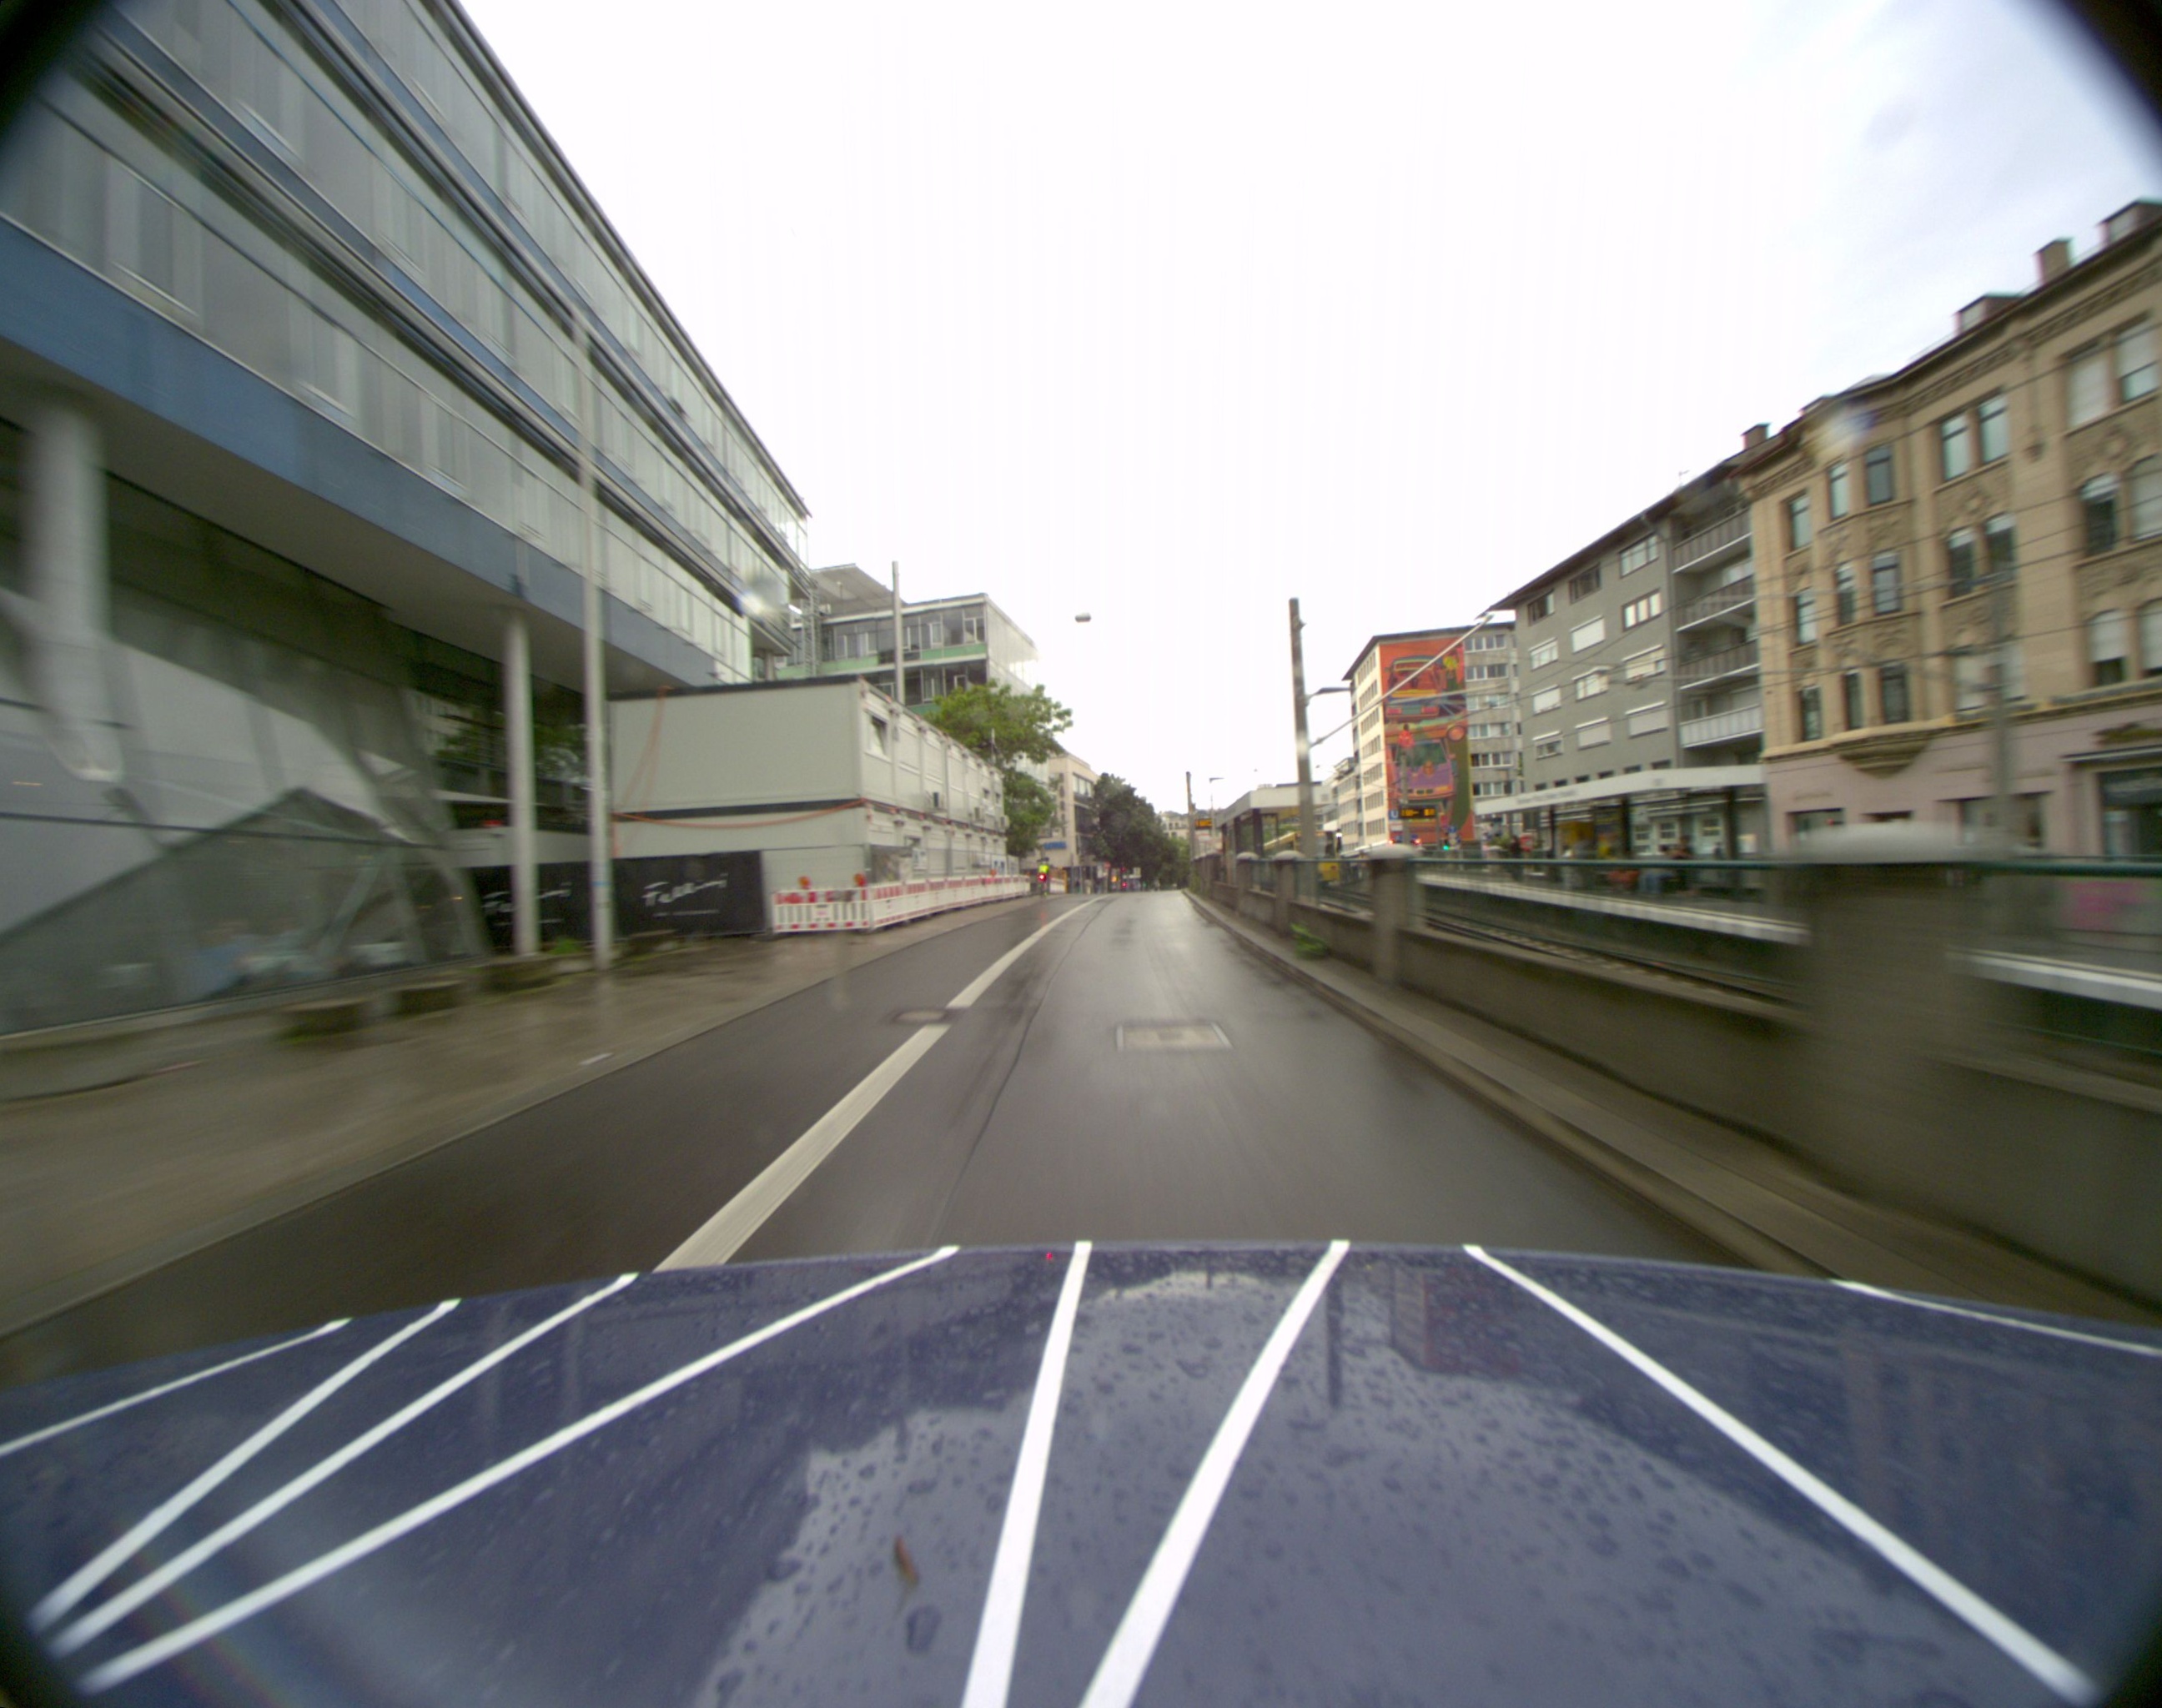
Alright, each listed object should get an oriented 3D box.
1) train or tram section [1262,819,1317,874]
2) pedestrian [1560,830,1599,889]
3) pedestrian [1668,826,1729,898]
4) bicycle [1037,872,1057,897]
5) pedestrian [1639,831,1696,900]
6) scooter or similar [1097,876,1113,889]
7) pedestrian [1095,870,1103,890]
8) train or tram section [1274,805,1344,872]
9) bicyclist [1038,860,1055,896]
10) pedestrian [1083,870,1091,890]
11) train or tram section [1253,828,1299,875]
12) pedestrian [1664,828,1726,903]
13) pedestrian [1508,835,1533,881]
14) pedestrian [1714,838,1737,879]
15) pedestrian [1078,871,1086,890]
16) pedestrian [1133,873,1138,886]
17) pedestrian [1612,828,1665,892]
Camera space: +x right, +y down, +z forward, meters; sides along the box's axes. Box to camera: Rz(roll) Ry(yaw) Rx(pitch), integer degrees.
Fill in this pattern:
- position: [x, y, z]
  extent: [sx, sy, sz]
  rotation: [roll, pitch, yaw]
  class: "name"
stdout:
- position: [16.150, -0.449, 59.421]
  extent: [2.784, 3.668, 9.520]
  rotation: [-4, -3, 8]
  class: "train or tram section"
- position: [14.349, 0.152, 21.896]
  extent: [0.634, 1.650, 0.683]
  rotation: [-3, -1, 9]
  class: "pedestrian"
- position: [14.727, 0.179, 18.153]
  extent: [0.773, 1.639, 0.778]
  rotation: [3, 1, 10]
  class: "pedestrian"
- position: [-1.590, 1.416, 35.622]
  extent: [0.663, 1.046, 2.057]
  rotation: [-1, 0, 5]
  class: "bicycle"
- position: [14.678, 0.286, 19.046]
  extent: [0.773, 1.639, 0.778]
  rotation: [3, 1, 10]
  class: "pedestrian"
- position: [2.379, 2.859, 75.651]
  extent: [1.385, 1.172, 0.511]
  rotation: [-2, -2, -21]
  class: "scooter or similar"
- position: [1.673, 2.417, 70.167]
  extent: [0.720, 1.750, 0.959]
  rotation: [-2, -2, 1]
  class: "pedestrian"
- position: [14.725, -0.780, 49.898]
  extent: [2.784, 3.668, 9.724]
  rotation: [-4, -3, 8]
  class: "train or tram section"
- position: [-1.592, 1.121, 35.540]
  extent: [0.663, 1.629, 0.793]
  rotation: [2, 1, 4]
  class: "bicyclist"
- position: [0.556, 2.398, 69.551]
  extent: [0.720, 1.750, 0.959]
  rotation: [-2, -2, 1]
  class: "pedestrian"
- position: [17.534, -0.107, 68.861]
  extent: [2.784, 3.668, 9.520]
  rotation: [-4, -3, 8]
  class: "train or tram section"
- position: [14.017, 0.255, 17.378]
  extent: [0.678, 1.639, 0.896]
  rotation: [3, 1, 10]
  class: "pedestrian"
- position: [15.065, 0.132, 26.042]
  extent: [0.558, 1.528, 0.517]
  rotation: [-2, 1, 6]
  class: "pedestrian"
- position: [27.012, 0.198, 31.845]
  extent: [0.422, 1.672, 0.608]
  rotation: [-4, -1, 16]
  class: "pedestrian"
- position: [0.102, 2.422, 70.306]
  extent: [0.599, 1.750, 0.846]
  rotation: [-2, -2, 7]
  class: "pedestrian"
- position: [7.001, 3.248, 97.306]
  extent: [0.559, 1.613, 0.485]
  rotation: [-4, -4, 11]
  class: "pedestrian"
- position: [14.766, 0.151, 20.145]
  extent: [0.773, 1.639, 0.778]
  rotation: [3, 1, 10]
  class: "pedestrian"
